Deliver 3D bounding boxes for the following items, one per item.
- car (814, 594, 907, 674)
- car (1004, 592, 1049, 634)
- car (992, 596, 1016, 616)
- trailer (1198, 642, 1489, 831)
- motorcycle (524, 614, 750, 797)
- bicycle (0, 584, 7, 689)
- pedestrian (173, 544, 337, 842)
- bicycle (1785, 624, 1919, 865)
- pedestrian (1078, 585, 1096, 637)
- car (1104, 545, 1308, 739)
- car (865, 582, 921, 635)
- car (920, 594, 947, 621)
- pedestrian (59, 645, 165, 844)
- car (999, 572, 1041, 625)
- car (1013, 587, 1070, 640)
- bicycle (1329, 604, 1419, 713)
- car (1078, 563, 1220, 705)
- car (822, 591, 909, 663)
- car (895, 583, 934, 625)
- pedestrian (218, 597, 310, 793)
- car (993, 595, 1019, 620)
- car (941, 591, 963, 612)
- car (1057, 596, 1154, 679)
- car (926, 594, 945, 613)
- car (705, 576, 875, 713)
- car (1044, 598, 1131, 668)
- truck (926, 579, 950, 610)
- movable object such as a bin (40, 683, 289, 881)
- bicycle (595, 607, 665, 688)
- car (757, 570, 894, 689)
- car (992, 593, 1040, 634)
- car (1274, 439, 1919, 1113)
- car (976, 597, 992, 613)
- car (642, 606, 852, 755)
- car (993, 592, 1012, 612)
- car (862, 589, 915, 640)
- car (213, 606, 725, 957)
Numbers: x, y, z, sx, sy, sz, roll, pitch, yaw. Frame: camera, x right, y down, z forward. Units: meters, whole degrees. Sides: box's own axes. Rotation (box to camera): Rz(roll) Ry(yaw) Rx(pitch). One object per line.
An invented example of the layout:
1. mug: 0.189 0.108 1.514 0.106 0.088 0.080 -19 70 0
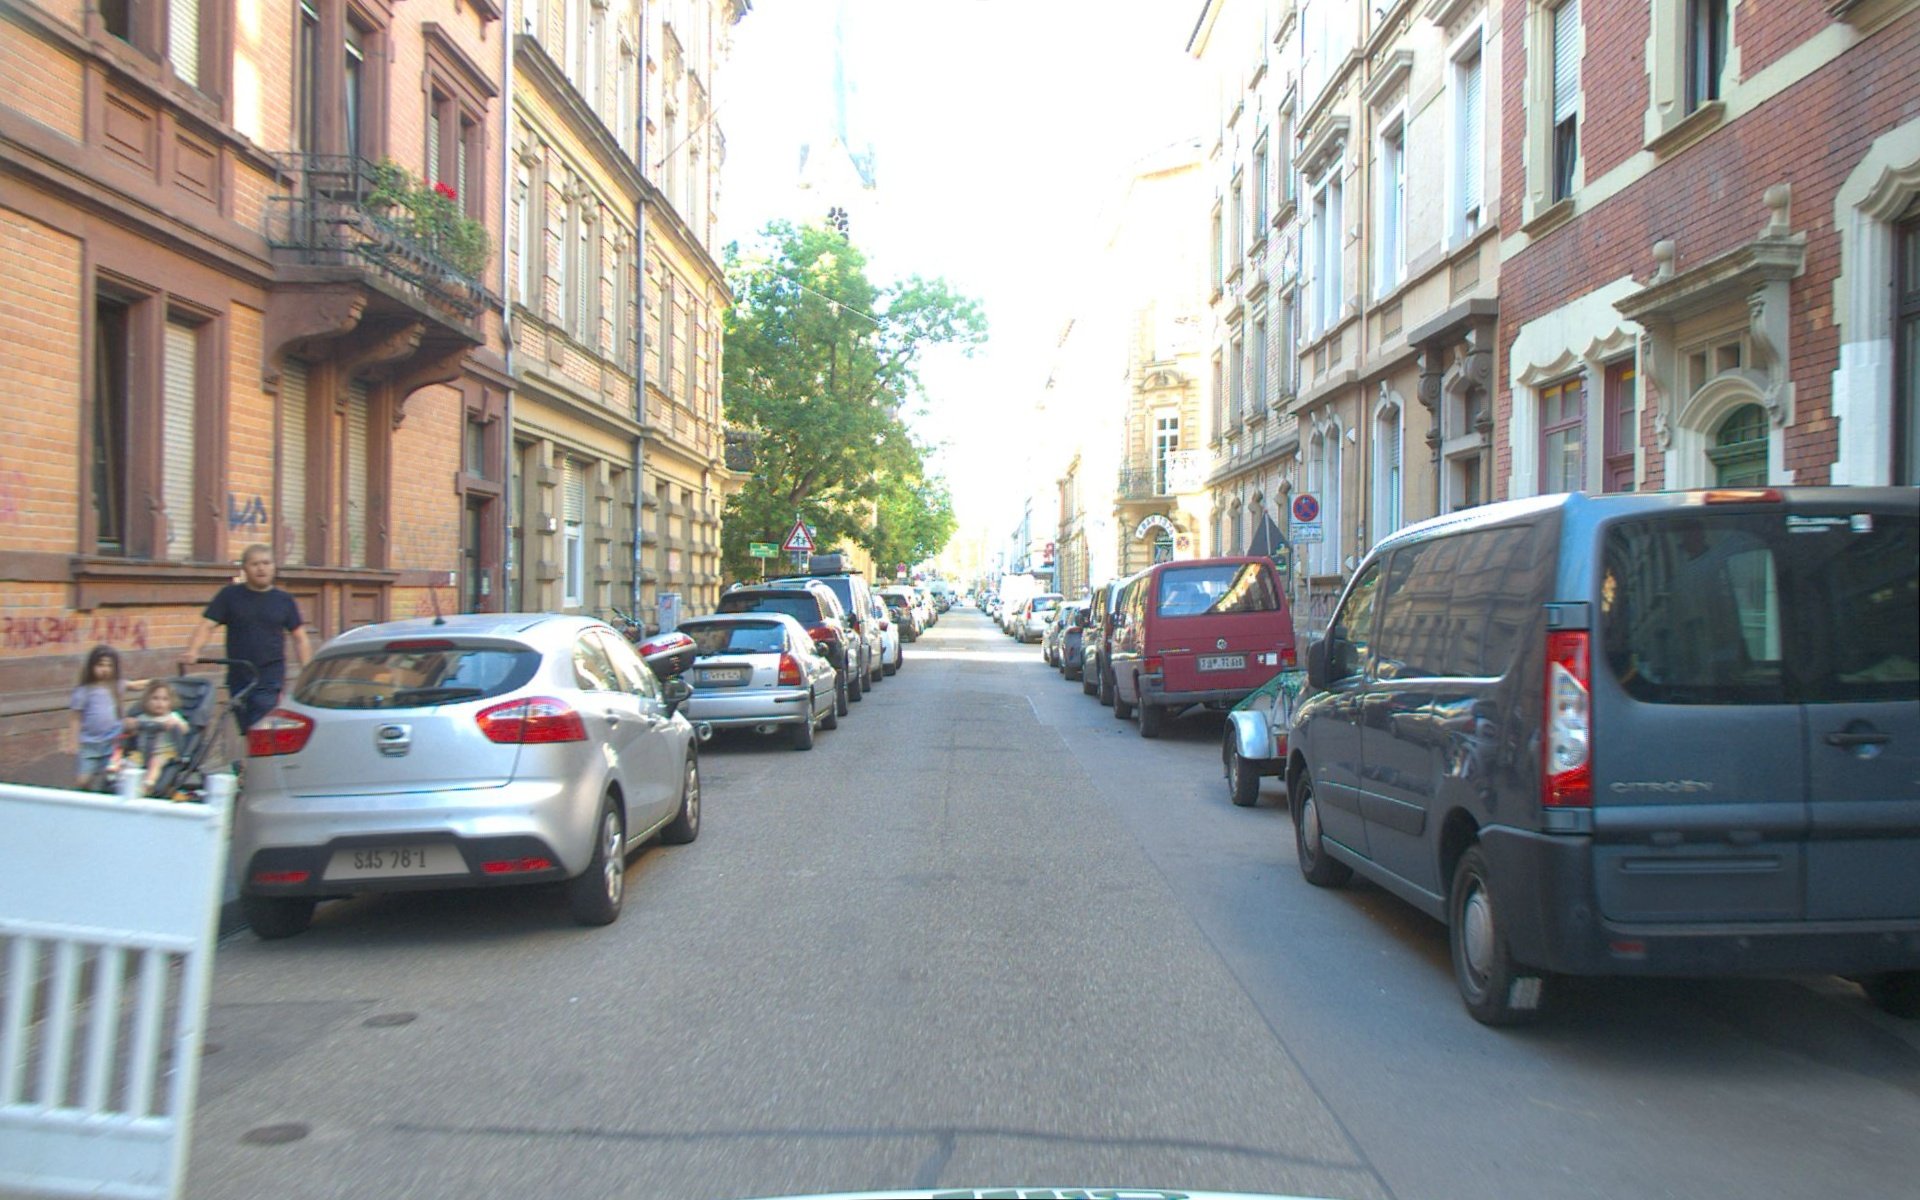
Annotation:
1. car: -1.922 0.623 32.776 1.640 1.445 3.873 2 0 -1
2. car: 2.889 0.568 72.434 1.770 1.719 4.214 2 0 1
3. car: 3.457 0.471 131.620 1.858 1.514 3.869 0 0 1
4. trailer: 2.894 0.993 13.050 1.474 1.132 3.038 4 0 -1
5. motorcycle: -2.740 0.843 13.860 0.837 1.384 2.163 -2 0 -42
6. bicycle: -5.396 0.622 7.957 0.513 1.450 1.712 3 0 1
7. pedestrian: -4.424 0.560 10.435 0.671 1.796 0.887 0 0 -3
8. bicycle: 5.414 0.778 9.169 0.654 1.244 1.992 -3 -1 1
9. pedestrian: 4.412 0.374 57.404 0.561 1.763 0.664 -1 0 7
10. car: 2.884 0.451 20.378 1.794 2.049 4.742 2 0 0
11. car: -2.461 0.295 61.465 1.807 1.895 4.466 0 1 1
12. car: -1.650 0.469 104.222 1.567 1.642 3.808 -2 0 0
13. pedestrian: -4.888 0.821 9.550 0.386 1.105 0.431 1 0 -5
14. car: 3.133 -0.118 87.043 2.025 2.656 5.888 1 0 0
15. car: 2.813 0.442 57.699 1.669 1.744 3.937 -1 0 -2
16. bicycle: 5.389 0.732 21.614 0.712 1.326 1.692 -3 0 1
17. car: 2.882 0.480 26.012 1.733 1.995 4.264 2 0 0
18. car: -2.128 0.591 38.178 1.687 1.507 4.089 2 0 0
19. car: -2.274 0.175 83.118 1.826 1.991 4.610 -1 0 0
20. pedestrian: -4.878 0.651 11.601 0.422 1.329 0.394 1 0 27
21. car: 2.859 0.449 102.727 1.570 1.531 4.001 2 0 1
22. car: -0.660 0.126 143.050 1.837 1.828 4.000 0 0 0
23. car: 2.850 0.705 33.066 1.632 1.505 3.888 0 1 1
24. car: -2.431 0.357 165.225 1.838 1.828 3.998 0 0 -2
25. car: -2.235 0.555 22.894 1.751 1.652 4.608 2 0 1
26. car: 2.907 0.723 38.541 1.671 1.484 4.511 2 0 0
27. truck: -2.370 -0.565 181.822 2.480 3.339 6.995 0 0 0
28. movable object such as a bin: -4.405 0.978 9.274 0.746 0.948 1.415 0 0 -2
29. bicycle: -5.079 0.712 25.555 0.653 1.145 1.785 3 1 1
30. car: -2.210 0.460 28.307 1.854 1.816 4.608 2 0 1
31. car: 2.268 0.534 68.181 1.541 1.551 3.905 3 0 -4
32. car: 2.774 0.547 7.363 1.807 2.018 4.576 2 0 0
33. car: 3.054 0.617 207.890 1.952 2.049 4.000 0 0 0
34. car: -2.182 0.783 17.935 1.664 1.337 4.000 4 0 0
35. car: 3.886 0.182 152.164 1.733 1.771 4.000 0 0 0
36. car: -2.402 0.466 55.976 1.705 1.675 4.287 0 0 -2
37. car: -2.394 0.785 9.112 1.640 1.443 3.999 -1 0 -1
